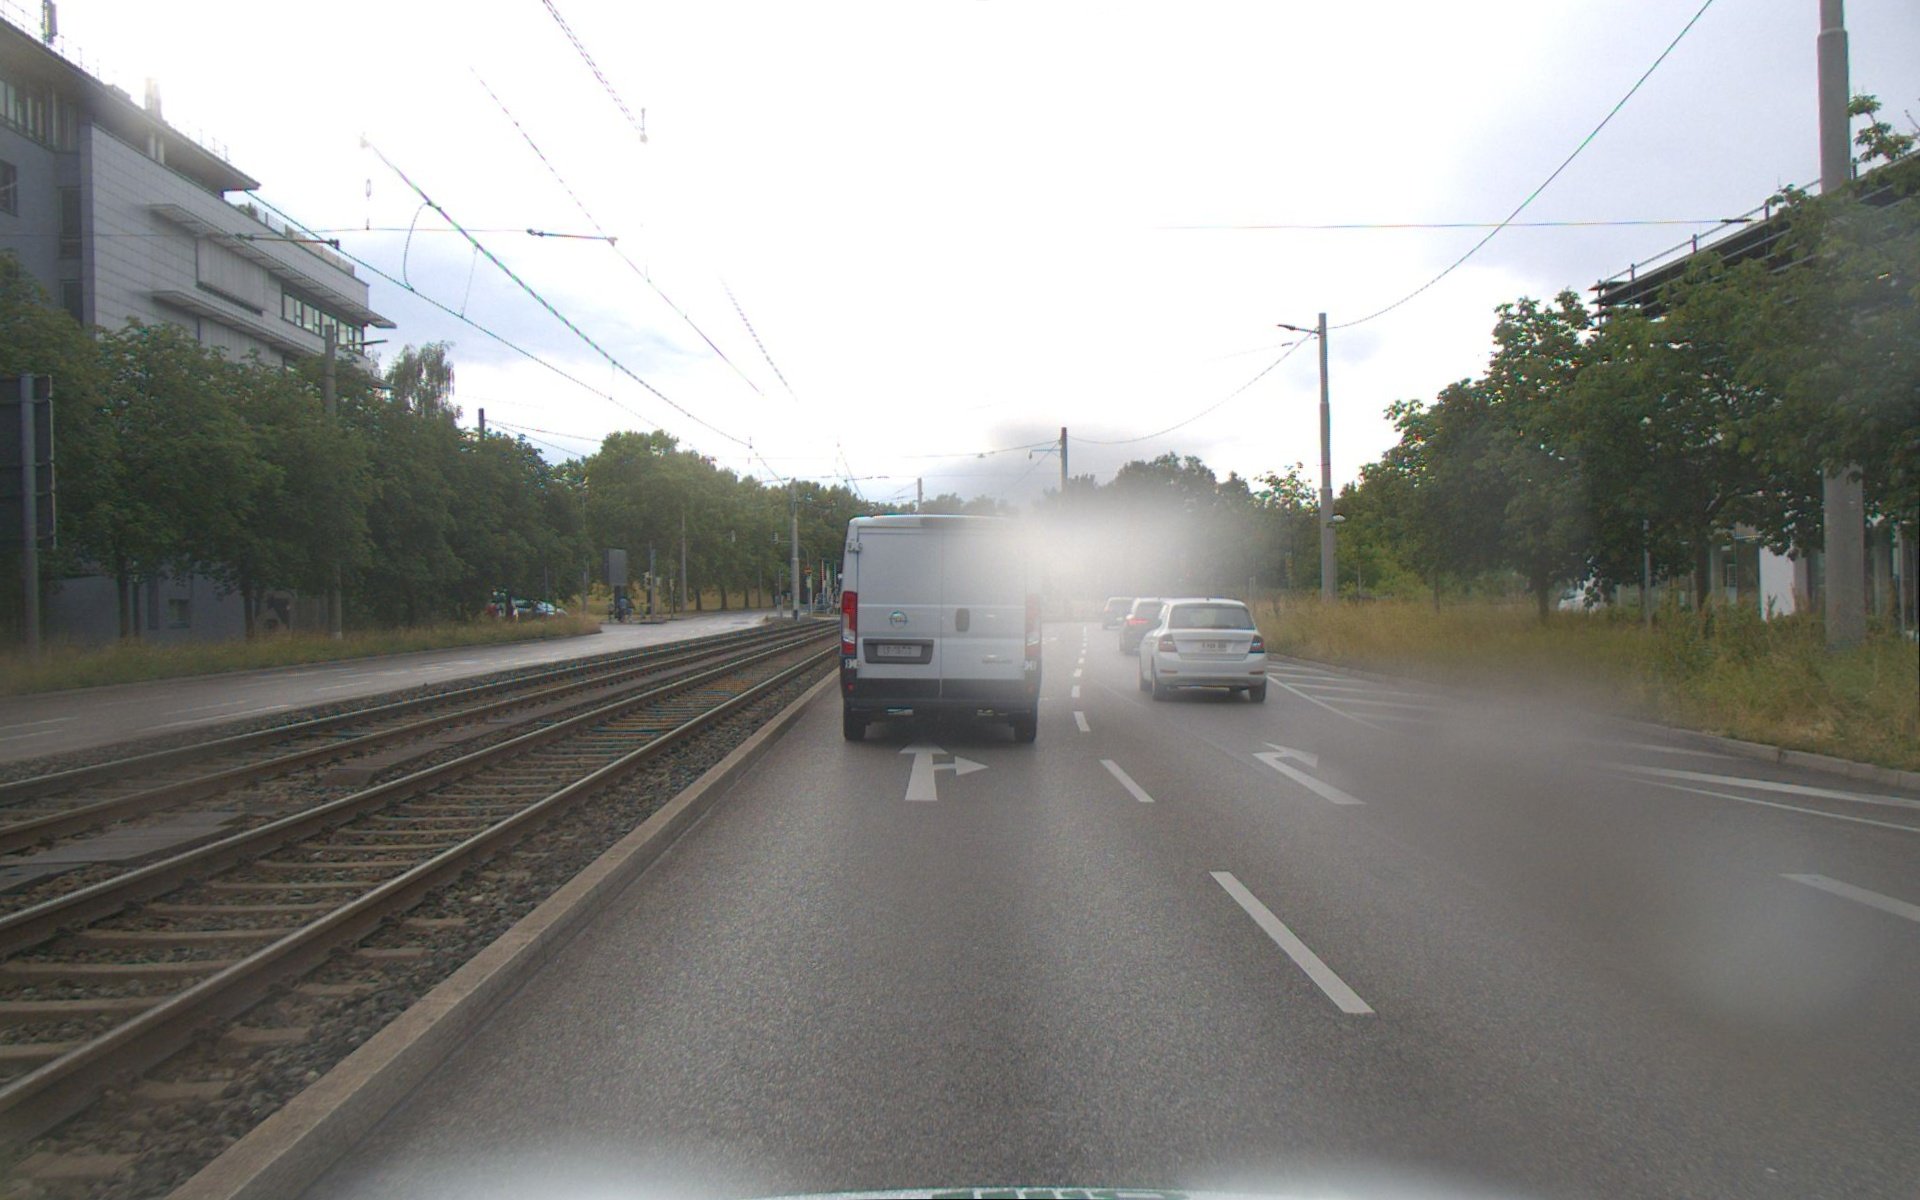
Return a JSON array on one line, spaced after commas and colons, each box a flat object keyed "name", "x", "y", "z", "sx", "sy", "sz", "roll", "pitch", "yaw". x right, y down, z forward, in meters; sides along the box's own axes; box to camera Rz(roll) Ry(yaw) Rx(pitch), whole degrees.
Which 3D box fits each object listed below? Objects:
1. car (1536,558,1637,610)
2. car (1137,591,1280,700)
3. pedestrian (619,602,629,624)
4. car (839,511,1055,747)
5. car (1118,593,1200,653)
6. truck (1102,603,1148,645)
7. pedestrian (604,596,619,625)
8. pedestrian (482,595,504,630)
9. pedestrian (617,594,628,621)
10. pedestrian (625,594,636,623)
[{"name": "car", "x": 25.674, "y": -0.649, "z": 67.972, "sx": 2.003, "sy": 2.049, "sz": 5.087, "roll": 0, "pitch": 0, "yaw": -3}, {"name": "car", "x": 3.674, "y": 0.627, "z": 24.988, "sx": 1.710, "sy": 1.483, "sz": 3.672, "roll": 1, "pitch": 0, "yaw": 2}, {"name": "pedestrian", "x": -23.685, "y": 0.897, "z": 116.582, "sx": 0.485, "sy": 1.499, "sz": 0.722, "roll": 1, "pitch": 0, "yaw": 1}, {"name": "car", "x": -0.212, "y": 0.260, "z": 18.405, "sx": 2.048, "sy": 2.235, "sz": 5.059, "roll": 1, "pitch": 0, "yaw": -2}, {"name": "car", "x": 5.062, "y": 0.567, "z": 42.517, "sx": 1.752, "sy": 1.474, "sz": 4.001, "roll": 0, "pitch": 0, "yaw": 2}, {"name": "truck", "x": 7.665, "y": 1.082, "z": 76.682, "sx": 1.951, "sy": 1.822, "sz": 4.418, "roll": -1, "pitch": 0, "yaw": 7}, {"name": "pedestrian", "x": -24.525, "y": 0.722, "z": 116.353, "sx": 0.869, "sy": 2.049, "sz": 0.865, "roll": -1, "pitch": 0, "yaw": -5}, {"name": "pedestrian", "x": -27.500, "y": 0.746, "z": 97.366, "sx": 0.868, "sy": 2.049, "sz": 0.946, "roll": -1, "pitch": 0, "yaw": 14}, {"name": "pedestrian", "x": -23.459, "y": 0.519, "z": 114.873, "sx": 0.495, "sy": 1.818, "sz": 0.832, "roll": 1, "pitch": 0, "yaw": 4}, {"name": "pedestrian", "x": -22.797, "y": 0.582, "z": 114.471, "sx": 0.485, "sy": 1.990, "sz": 0.722, "roll": 1, "pitch": 0, "yaw": 4}]
